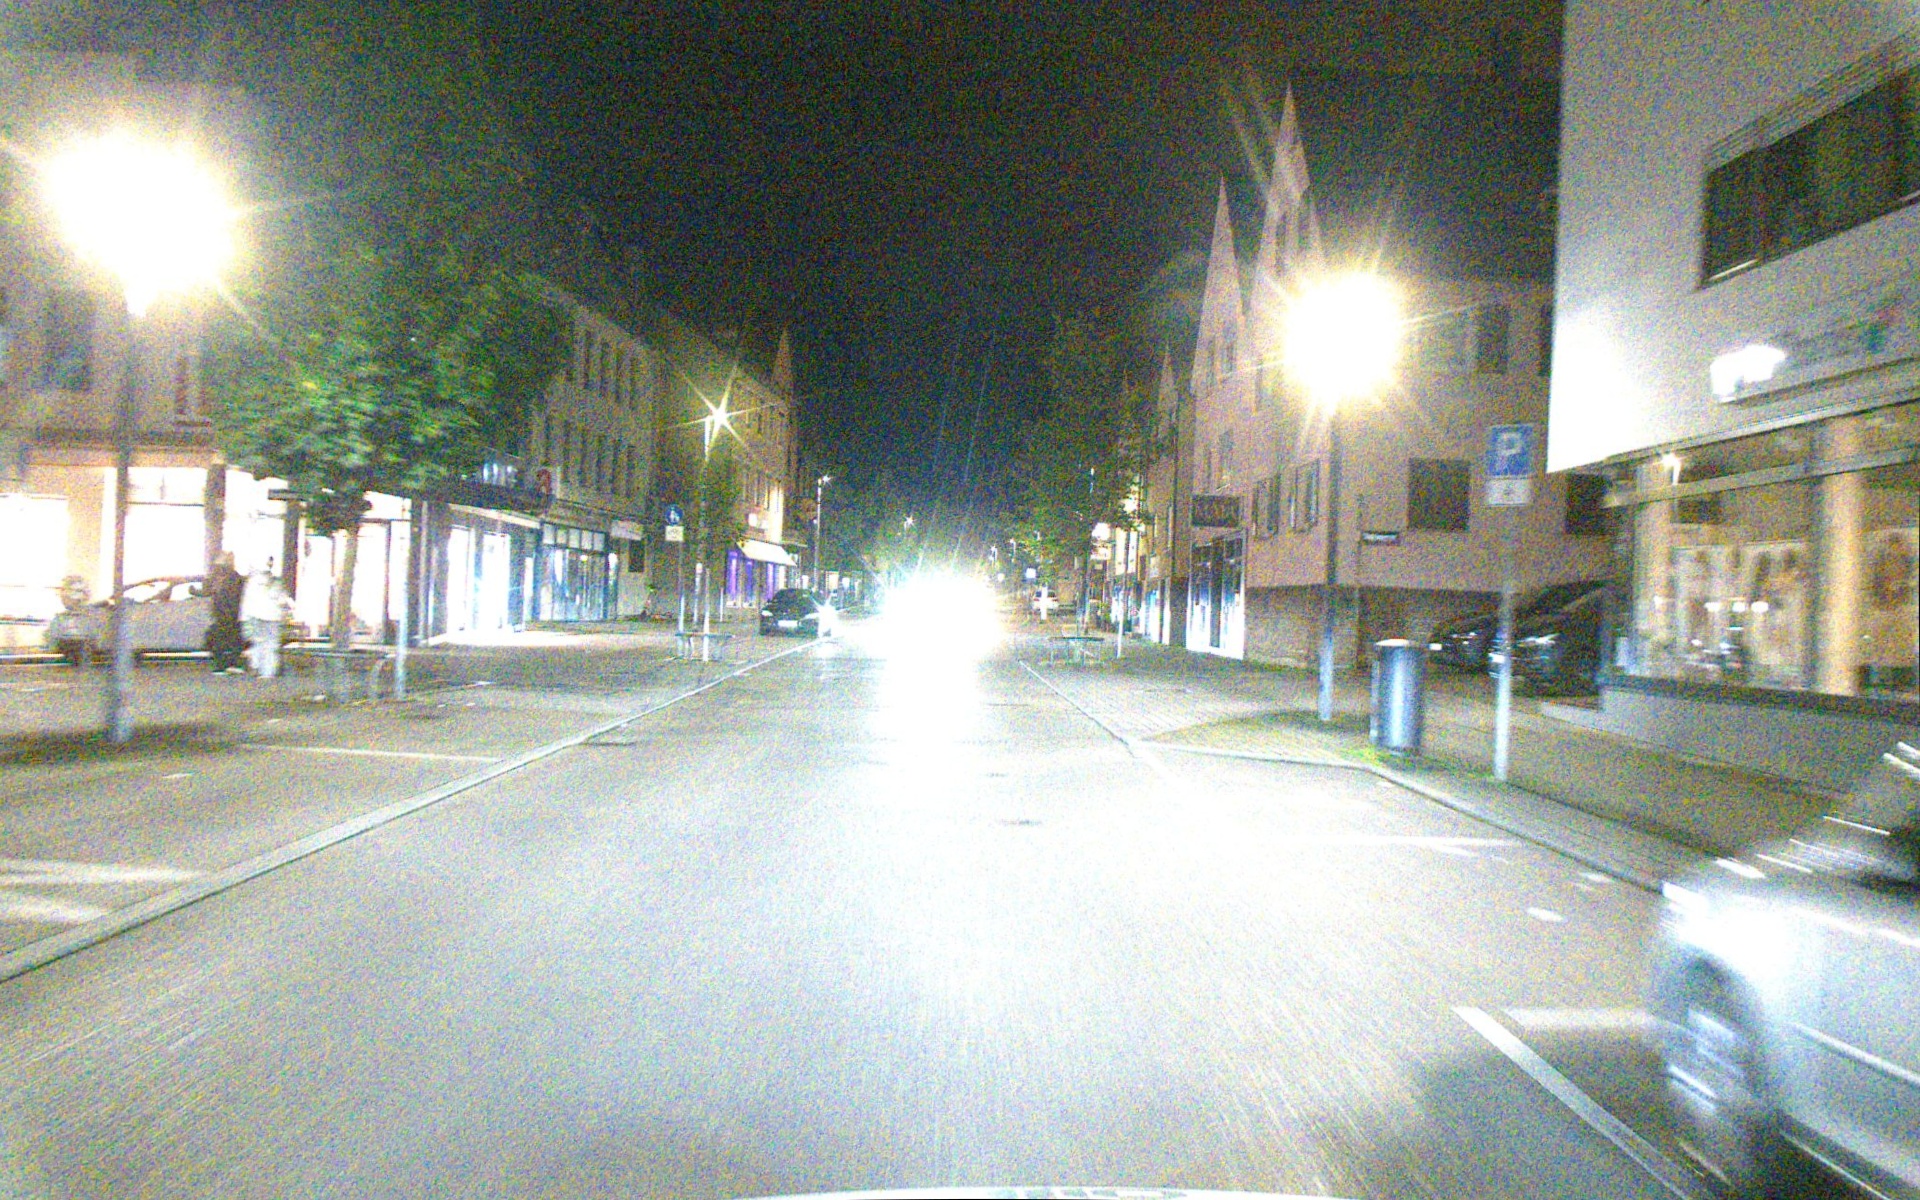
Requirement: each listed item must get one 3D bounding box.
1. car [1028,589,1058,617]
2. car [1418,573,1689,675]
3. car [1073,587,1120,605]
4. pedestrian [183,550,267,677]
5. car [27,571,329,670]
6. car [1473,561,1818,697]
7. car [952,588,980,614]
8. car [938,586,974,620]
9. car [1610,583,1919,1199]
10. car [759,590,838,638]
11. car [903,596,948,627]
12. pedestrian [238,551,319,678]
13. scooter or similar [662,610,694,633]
[{"bbox_3d":[5.254,0.176,104.845,1.739,1.681,4.364,1,0,1],"label":"car"},{"bbox_3d":[9.977,0.394,27.995,3.907,1.502,1.751,-2,-1,-3],"label":"car"},{"bbox_3d":[11.394,-0.325,137.970,3.902,1.441,2.001,1,-2,6],"label":"car"},{"bbox_3d":[-9.970,0.167,22.463,0.753,1.685,0.817,1,1,1],"label":"pedestrian"},{"bbox_3d":[-12.854,0.330,27.334,4.080,1.463,1.841,-2,0,3],"label":"car"},{"bbox_3d":[9.413,0.363,22.903,3.996,1.609,1.815,-3,1,-4],"label":"car"},{"bbox_3d":[0.448,0.053,111.526,1.738,1.681,4.365,1,0,2],"label":"car"},{"bbox_3d":[-0.184,0.146,85.858,1.738,1.681,4.365,1,0,1],"label":"car"},{"bbox_3d":[2.794,0.722,3.049,1.641,1.485,3.674,1,0,-2],"label":"car"},{"bbox_3d":[-4.946,0.404,51.263,1.875,1.394,4.458,1,1,1],"label":"car"},{"bbox_3d":[-1.436,0.476,70.153,1.687,1.268,4.237,1,0,1],"label":"car"},{"bbox_3d":[-9.207,0.184,22.381,0.753,1.685,0.782,1,1,1],"label":"pedestrian"},{"bbox_3d":[-10.085,0.771,59.123,1.073,0.795,0.524,1,0,-3],"label":"scooter or similar"}]
